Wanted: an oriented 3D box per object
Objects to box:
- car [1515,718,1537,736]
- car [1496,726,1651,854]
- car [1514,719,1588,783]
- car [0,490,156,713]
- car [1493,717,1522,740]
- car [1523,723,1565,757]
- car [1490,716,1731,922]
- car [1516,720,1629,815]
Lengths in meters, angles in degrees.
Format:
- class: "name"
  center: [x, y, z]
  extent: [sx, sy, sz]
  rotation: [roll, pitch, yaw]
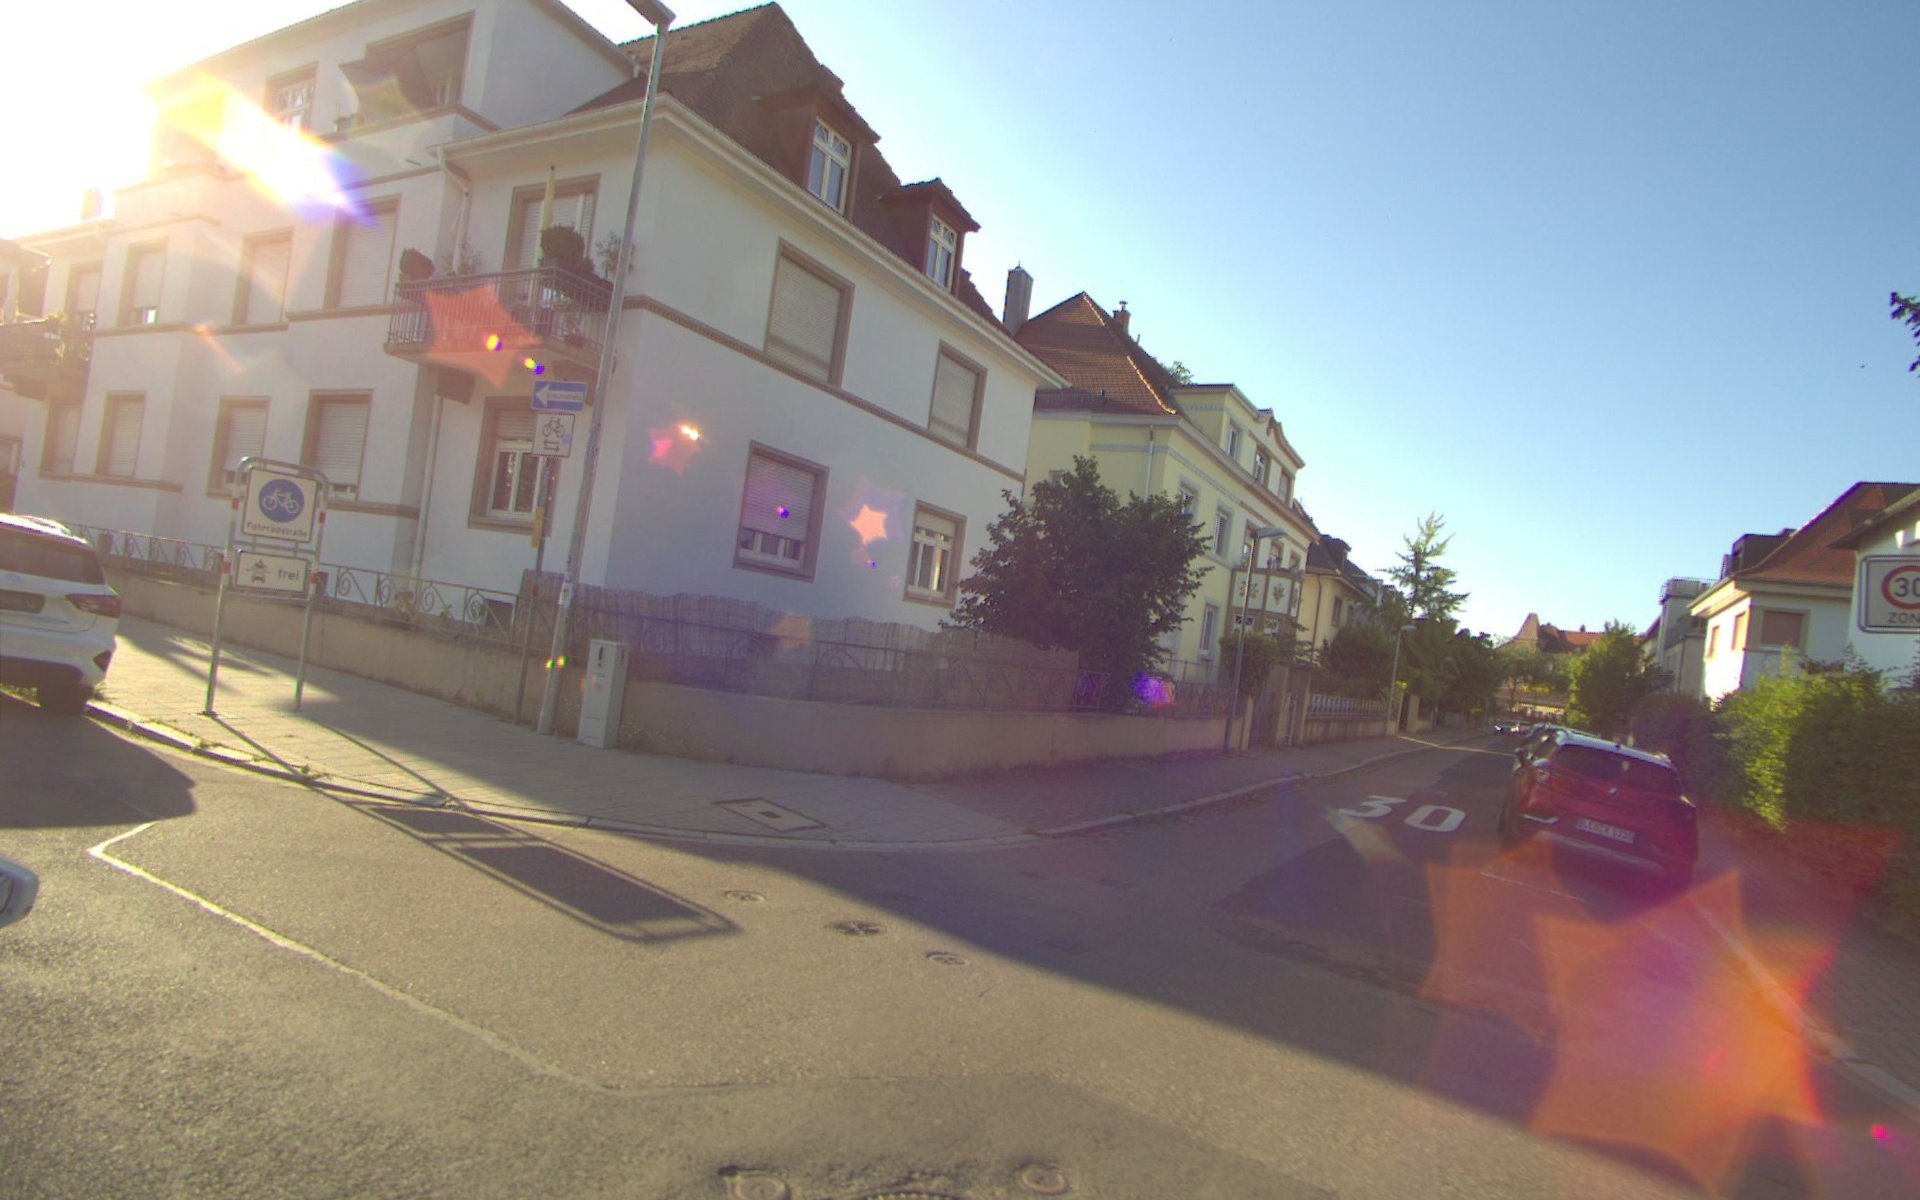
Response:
- class: "car"
  center: [60.413, 13.558, 107.376]
  extent: [1.750, 1.643, 4.257]
  rotation: [7, -2, 29]
- class: "car"
  center: [10.950, 3.301, 18.264]
  extent: [1.839, 1.543, 4.258]
  rotation: [13, 1, 28]
- class: "car"
  center: [19.742, 5.000, 33.753]
  extent: [1.750, 1.643, 4.257]
  rotation: [10, -1, 29]
- class: "car"
  center: [-8.846, -0.219, 8.396]
  extent: [4.284, 1.623, 1.763]
  rotation: [7, -1, 30]
- class: "car"
  center: [47.797, 11.234, 87.857]
  extent: [1.965, 1.636, 3.998]
  rotation: [7, -2, 28]
- class: "car"
  center: [34.964, 8.341, 60.317]
  extent: [1.750, 1.643, 4.258]
  rotation: [8, -2, 28]
- class: "car"
  center: [7.649, 2.446, 12.237]
  extent: [1.815, 1.627, 3.854]
  rotation: [13, 1, 28]
- class: "car"
  center: [14.369, 3.848, 23.825]
  extent: [1.750, 1.643, 4.258]
  rotation: [11, 0, 28]
